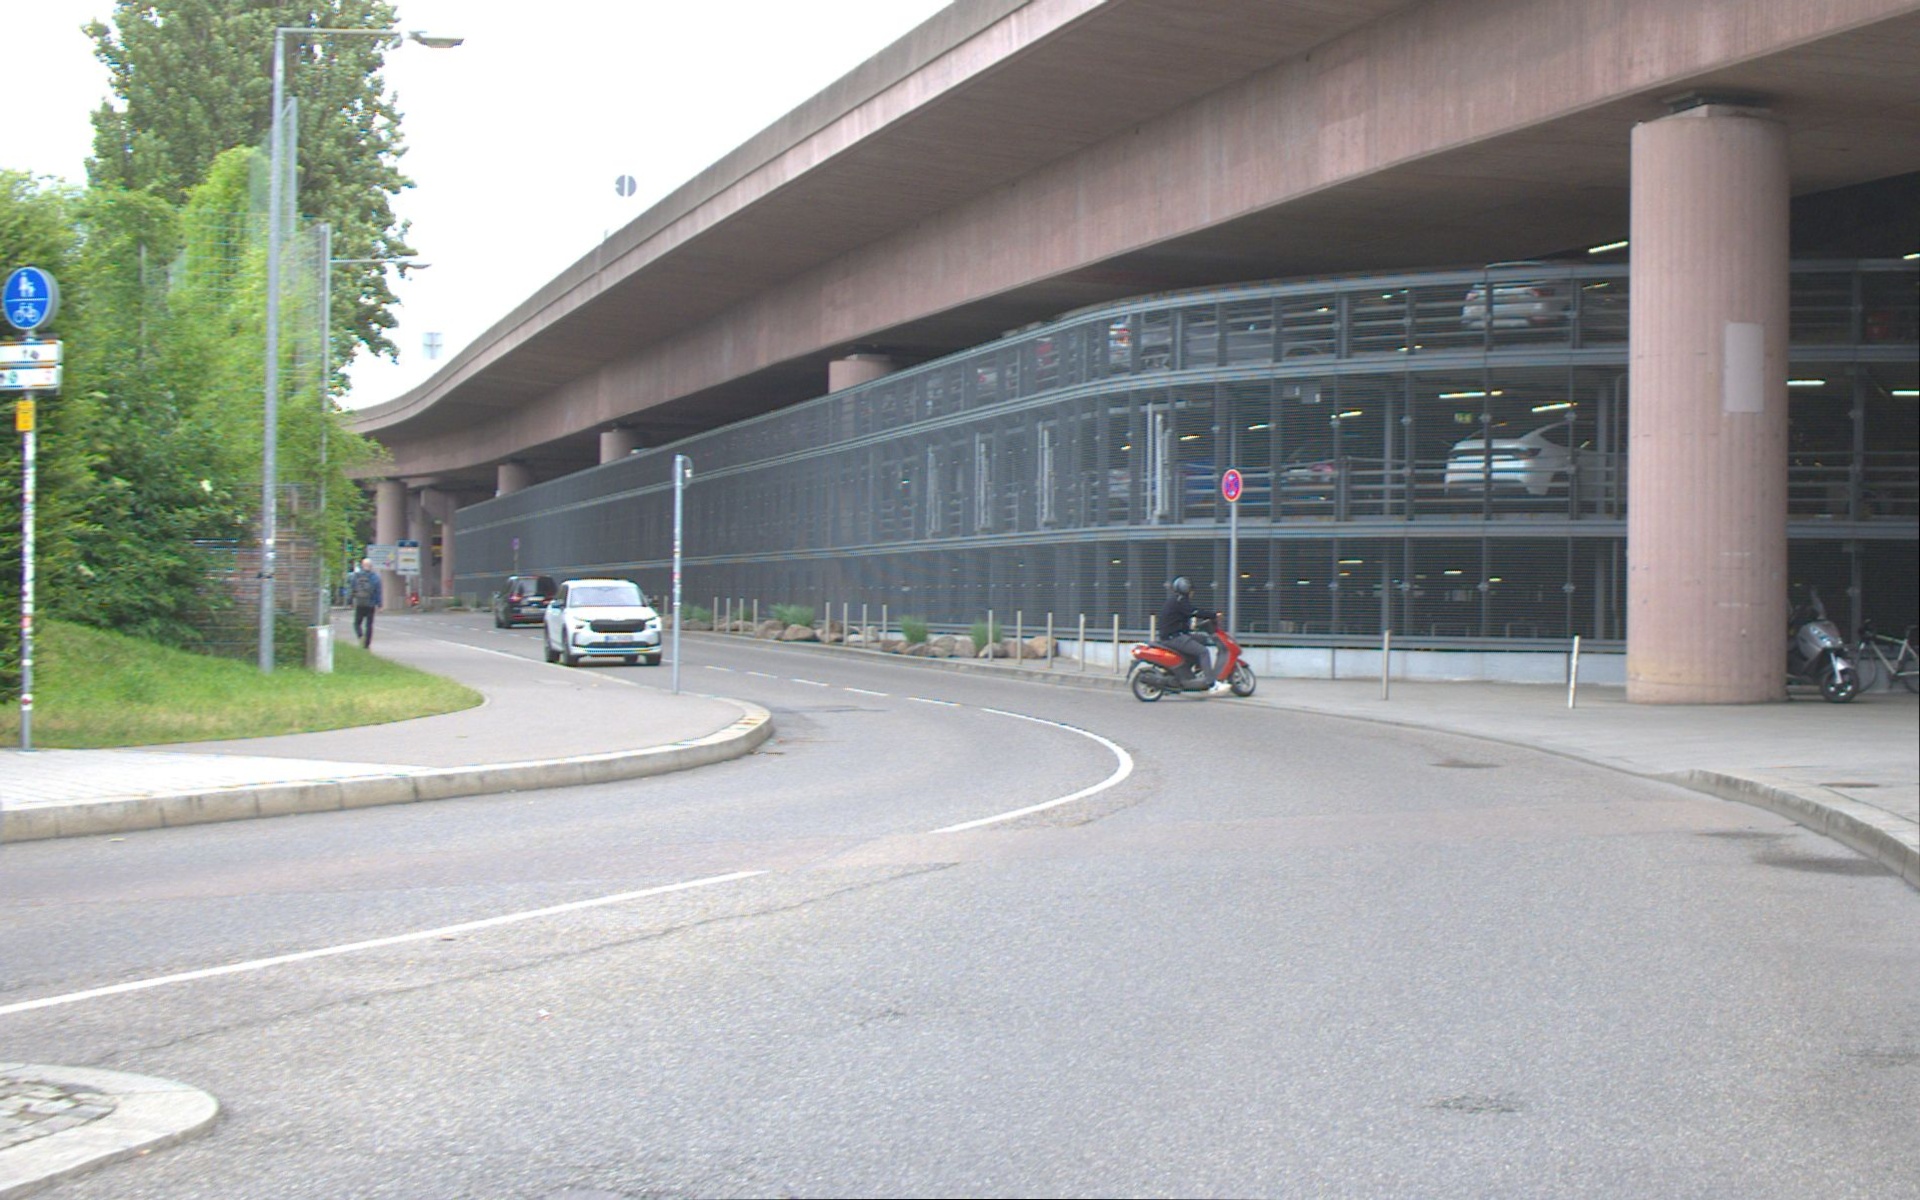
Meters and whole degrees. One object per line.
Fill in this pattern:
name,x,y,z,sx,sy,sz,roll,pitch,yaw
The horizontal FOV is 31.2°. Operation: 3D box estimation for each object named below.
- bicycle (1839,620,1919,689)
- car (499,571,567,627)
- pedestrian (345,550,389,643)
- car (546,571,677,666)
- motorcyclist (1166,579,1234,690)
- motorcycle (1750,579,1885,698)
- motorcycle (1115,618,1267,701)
bicycle,13.558,0.793,49.989,1.473,0.973,0.451,1,2,13
car,-13.876,-0.045,111.529,1.839,1.705,3.707,0,2,-12
pedestrian,-11.537,-0.081,66.898,0.803,1.775,0.920,0,2,-11
car,-6.827,0.333,66.962,1.864,1.678,4.407,0,2,-15
motorcyclist,3.145,0.446,45.044,0.867,1.414,0.764,1,2,4
motorcycle,11.014,0.475,44.204,0.642,1.450,1.763,0,2,-28
motorcycle,3.029,0.779,45.054,1.950,1.019,0.748,1,2,5
